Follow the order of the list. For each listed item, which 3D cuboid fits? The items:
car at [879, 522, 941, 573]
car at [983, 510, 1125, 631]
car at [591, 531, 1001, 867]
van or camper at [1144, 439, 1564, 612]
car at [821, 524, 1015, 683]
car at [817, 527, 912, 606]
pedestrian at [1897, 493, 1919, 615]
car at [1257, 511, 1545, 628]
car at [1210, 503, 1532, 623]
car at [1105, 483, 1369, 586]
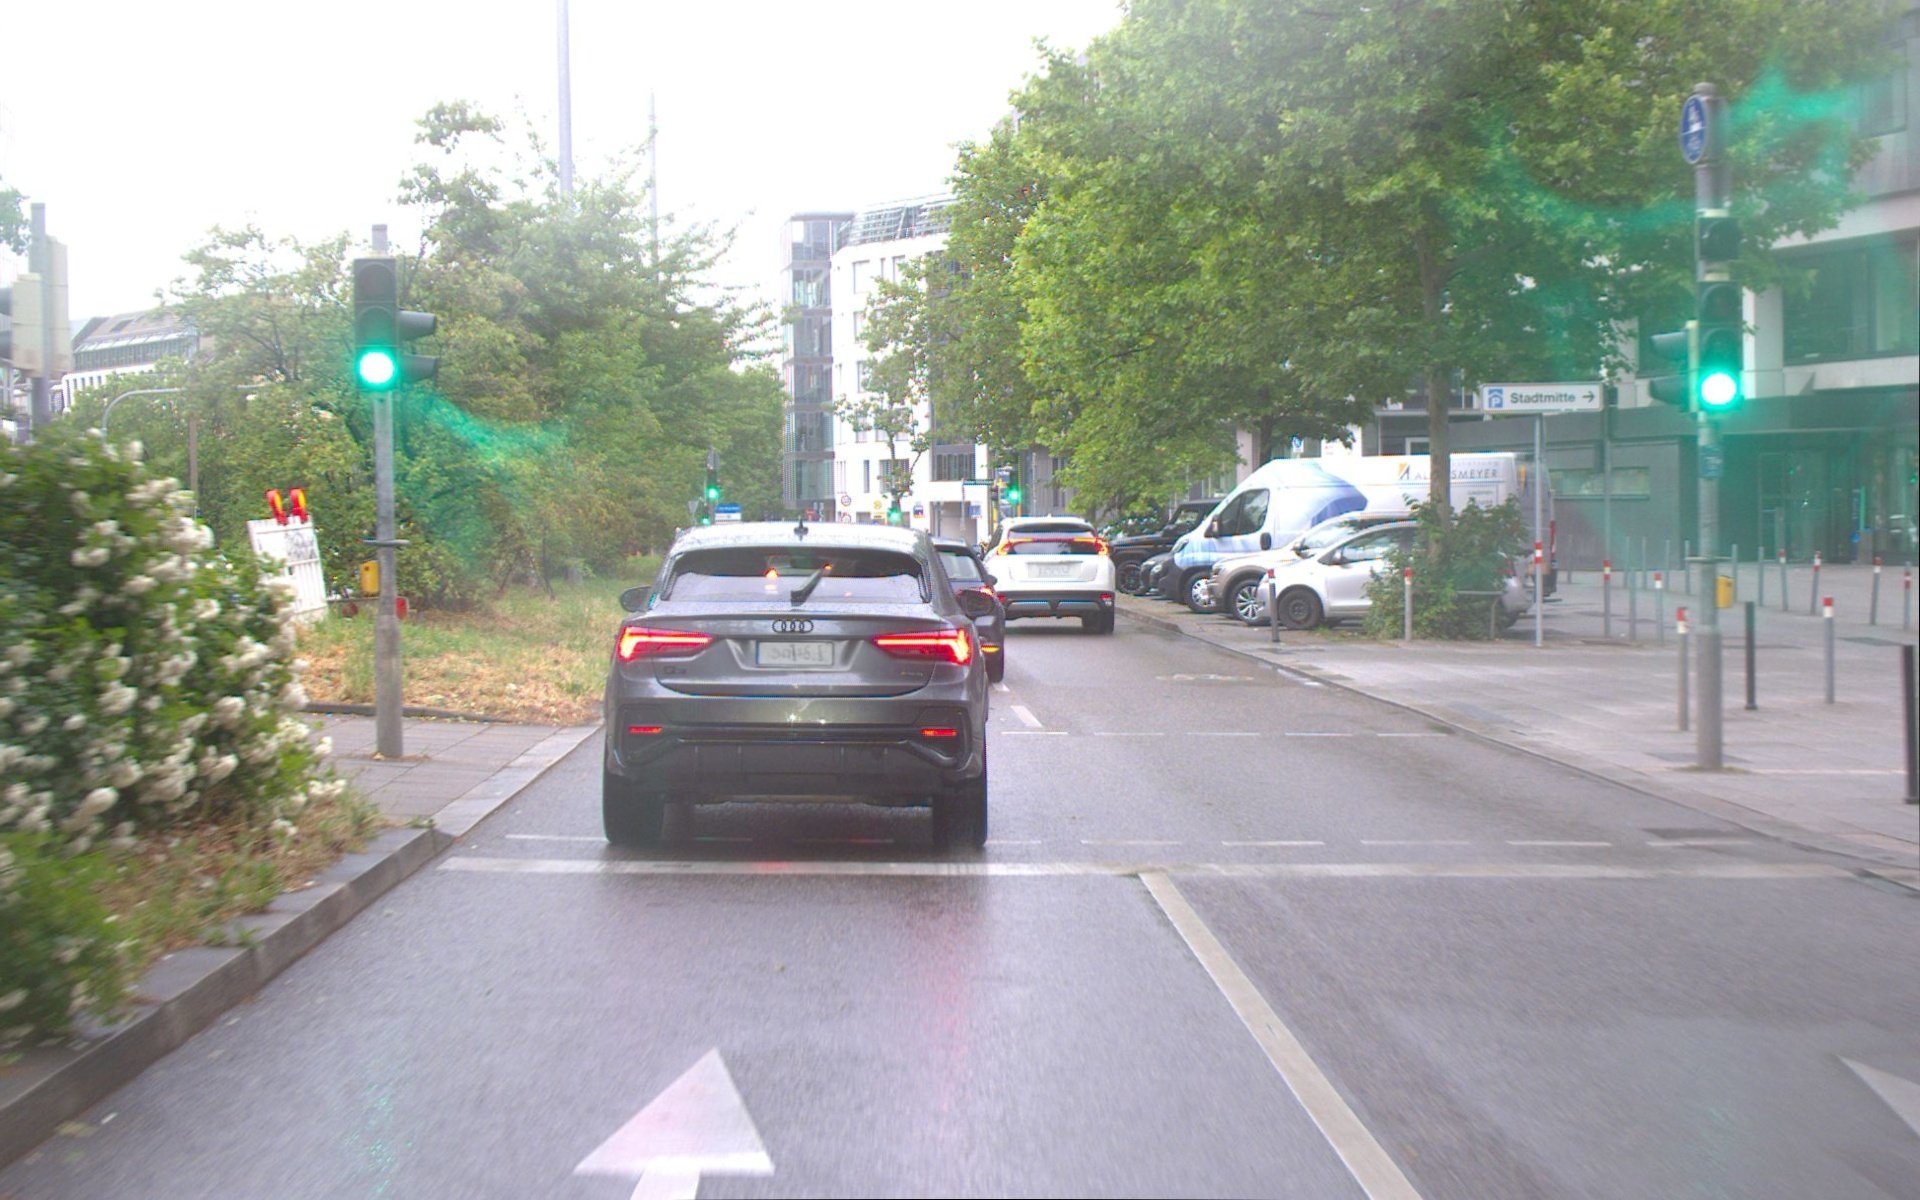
[{"bbox_3d":[-1.535,-1.618,104.931,1.849,1.518,4.039,0,1,-1],"label":"car"},{"bbox_3d":[1.317,-0.446,49.566,1.849,1.663,4.039,0,1,-1],"label":"car"},{"bbox_3d":[-0.806,0.408,17.539,1.849,1.518,4.039,0,1,-2],"label":"car"},{"bbox_3d":[6.041,-1.120,52.946,6.074,2.549,2.102,0,1,26],"label":"van or camper"},{"bbox_3d":[-0.440,-0.008,34.826,1.849,1.518,4.039,0,1,-1],"label":"car"},{"bbox_3d":[-1.883,-0.678,68.338,1.849,1.518,4.039,0,1,-1],"label":"car"},{"bbox_3d":[13.605,-0.639,47.726,0.805,1.690,1.187,0,1,-3],"label":"pedestrian"},{"bbox_3d":[6.040,-0.439,46.997,3.652,1.542,1.713,1,1,18],"label":"car"},{"bbox_3d":[5.936,-0.557,49.638,4.262,1.662,1.816,1,1,25],"label":"car"},{"bbox_3d":[5.615,-1.327,69.775,4.943,1.971,1.927,-1,1,25],"label":"car"}]
